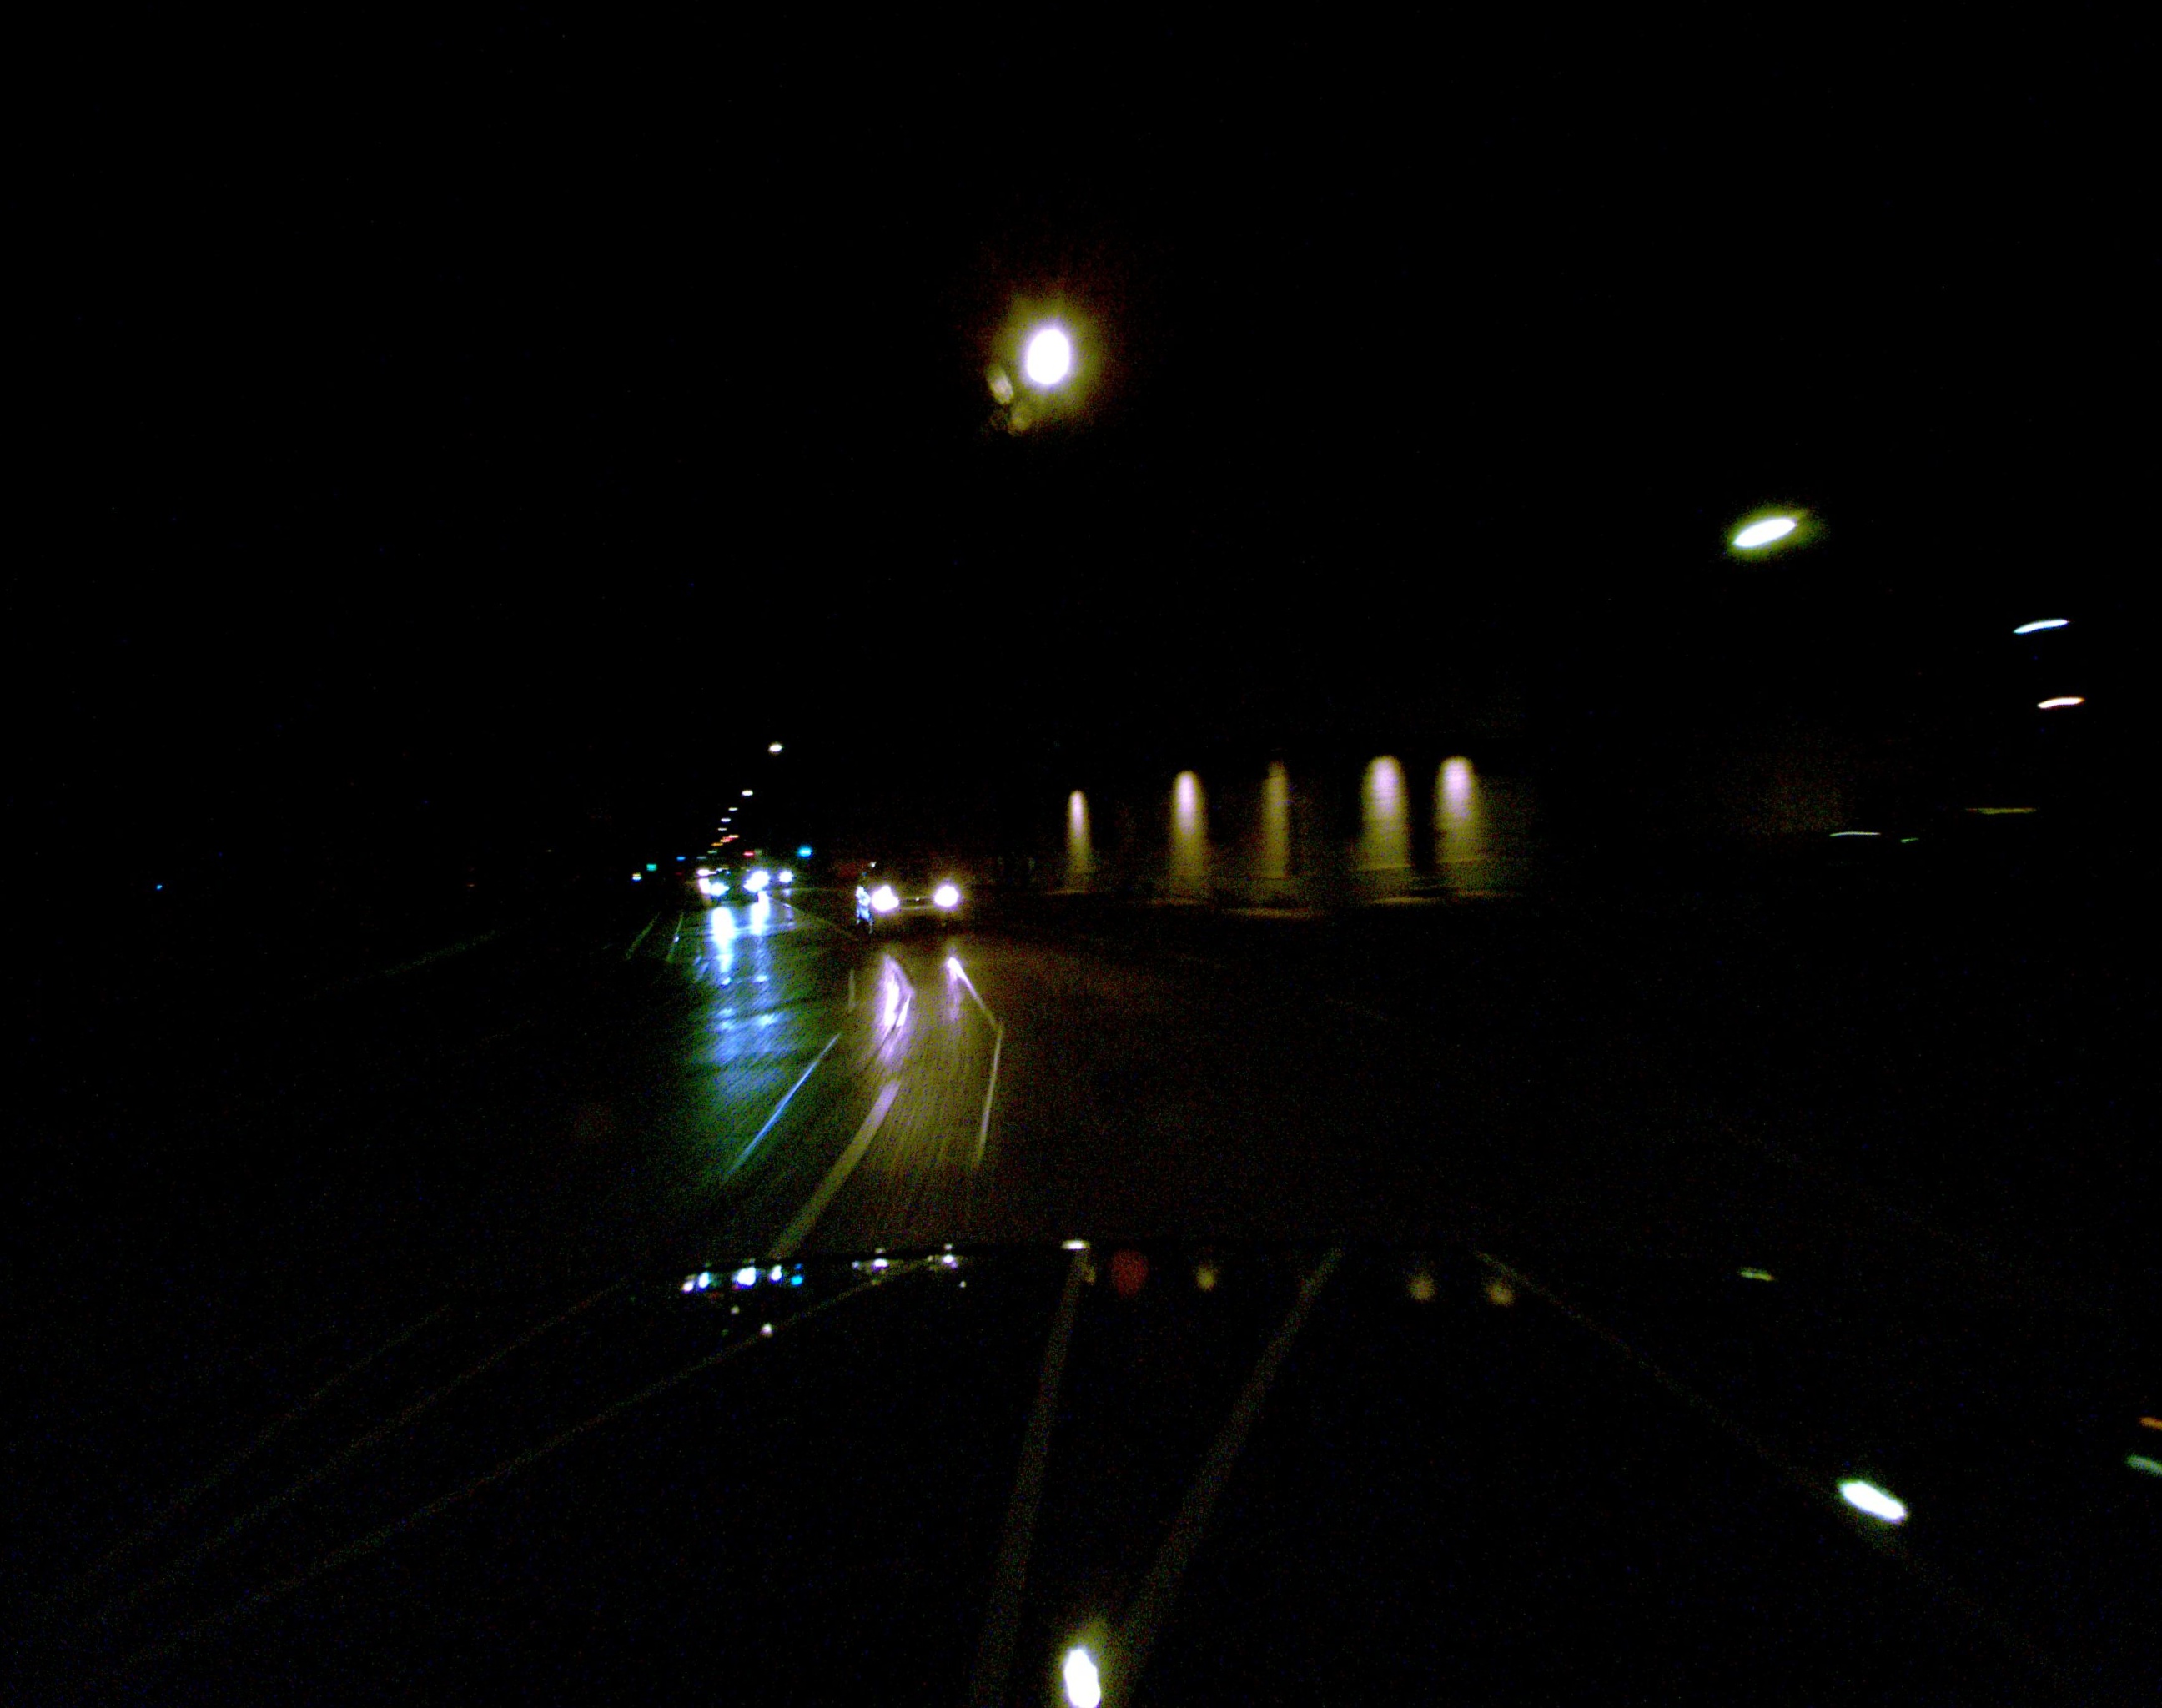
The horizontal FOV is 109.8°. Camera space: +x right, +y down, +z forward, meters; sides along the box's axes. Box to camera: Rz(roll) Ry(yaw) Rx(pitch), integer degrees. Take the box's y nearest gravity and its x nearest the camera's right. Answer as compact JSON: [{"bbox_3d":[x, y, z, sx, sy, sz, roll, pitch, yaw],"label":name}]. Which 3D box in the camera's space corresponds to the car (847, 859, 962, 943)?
[{"bbox_3d":[-3.853,0.887,16.124,1.637,1.430,3.832,-4,2,-23],"label":"car"}]

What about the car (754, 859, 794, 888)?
[{"bbox_3d":[-17.920,1.093,44.231,1.732,1.455,3.991,-3,2,-27],"label":"car"}]

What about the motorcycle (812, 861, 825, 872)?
[{"bbox_3d":[-31.208,1.495,90.332,0.574,1.173,2.026,-4,1,-44],"label":"motorcycle"}]

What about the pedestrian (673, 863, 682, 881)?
[{"bbox_3d":[-39.651,1.762,74.630,0.624,1.801,0.757,-3,2,-26],"label":"pedestrian"}]

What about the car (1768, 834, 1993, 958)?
[{"bbox_3d":[11.632,0.526,11.055,2.822,1.505,1.486,-3,2,-26],"label":"car"}]

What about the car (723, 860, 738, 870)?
[{"bbox_3d":[-57.699,1.827,125.095,2.002,1.626,3.992,-3,1,-24],"label":"car"}]

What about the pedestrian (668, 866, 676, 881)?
[{"bbox_3d":[-40.505,1.931,75.300,0.575,1.525,0.632,-3,2,-26],"label":"pedestrian"}]

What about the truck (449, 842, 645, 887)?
[{"bbox_3d":[-56.828,1.019,81.843,16.854,3.962,3.124,-3,2,-27],"label":"truck"}]

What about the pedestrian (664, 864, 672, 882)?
[{"bbox_3d":[-40.119,1.841,73.837,0.624,1.629,0.677,-3,2,-26],"label":"pedestrian"}]

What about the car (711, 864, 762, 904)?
[{"bbox_3d":[-14.707,1.228,32.313,1.732,1.422,4.488,-4,2,-26],"label":"car"}]

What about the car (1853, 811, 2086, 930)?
[{"bbox_3d":[15.423,0.206,13.178,3.888,1.756,1.714,-3,2,-26],"label":"car"}]

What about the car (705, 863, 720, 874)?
[{"bbox_3d":[-47.732,1.904,98.468,1.622,1.259,3.620,-4,1,-24],"label":"car"}]

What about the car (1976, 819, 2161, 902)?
[{"bbox_3d":[20.436,0.086,15.661,3.588,1.462,1.736,-3,1,-26],"label":"car"}]

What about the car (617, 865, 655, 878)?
[{"bbox_3d":[-57.374,2.242,98.020,4.100,1.446,1.783,-3,1,-27],"label":"car"}]
